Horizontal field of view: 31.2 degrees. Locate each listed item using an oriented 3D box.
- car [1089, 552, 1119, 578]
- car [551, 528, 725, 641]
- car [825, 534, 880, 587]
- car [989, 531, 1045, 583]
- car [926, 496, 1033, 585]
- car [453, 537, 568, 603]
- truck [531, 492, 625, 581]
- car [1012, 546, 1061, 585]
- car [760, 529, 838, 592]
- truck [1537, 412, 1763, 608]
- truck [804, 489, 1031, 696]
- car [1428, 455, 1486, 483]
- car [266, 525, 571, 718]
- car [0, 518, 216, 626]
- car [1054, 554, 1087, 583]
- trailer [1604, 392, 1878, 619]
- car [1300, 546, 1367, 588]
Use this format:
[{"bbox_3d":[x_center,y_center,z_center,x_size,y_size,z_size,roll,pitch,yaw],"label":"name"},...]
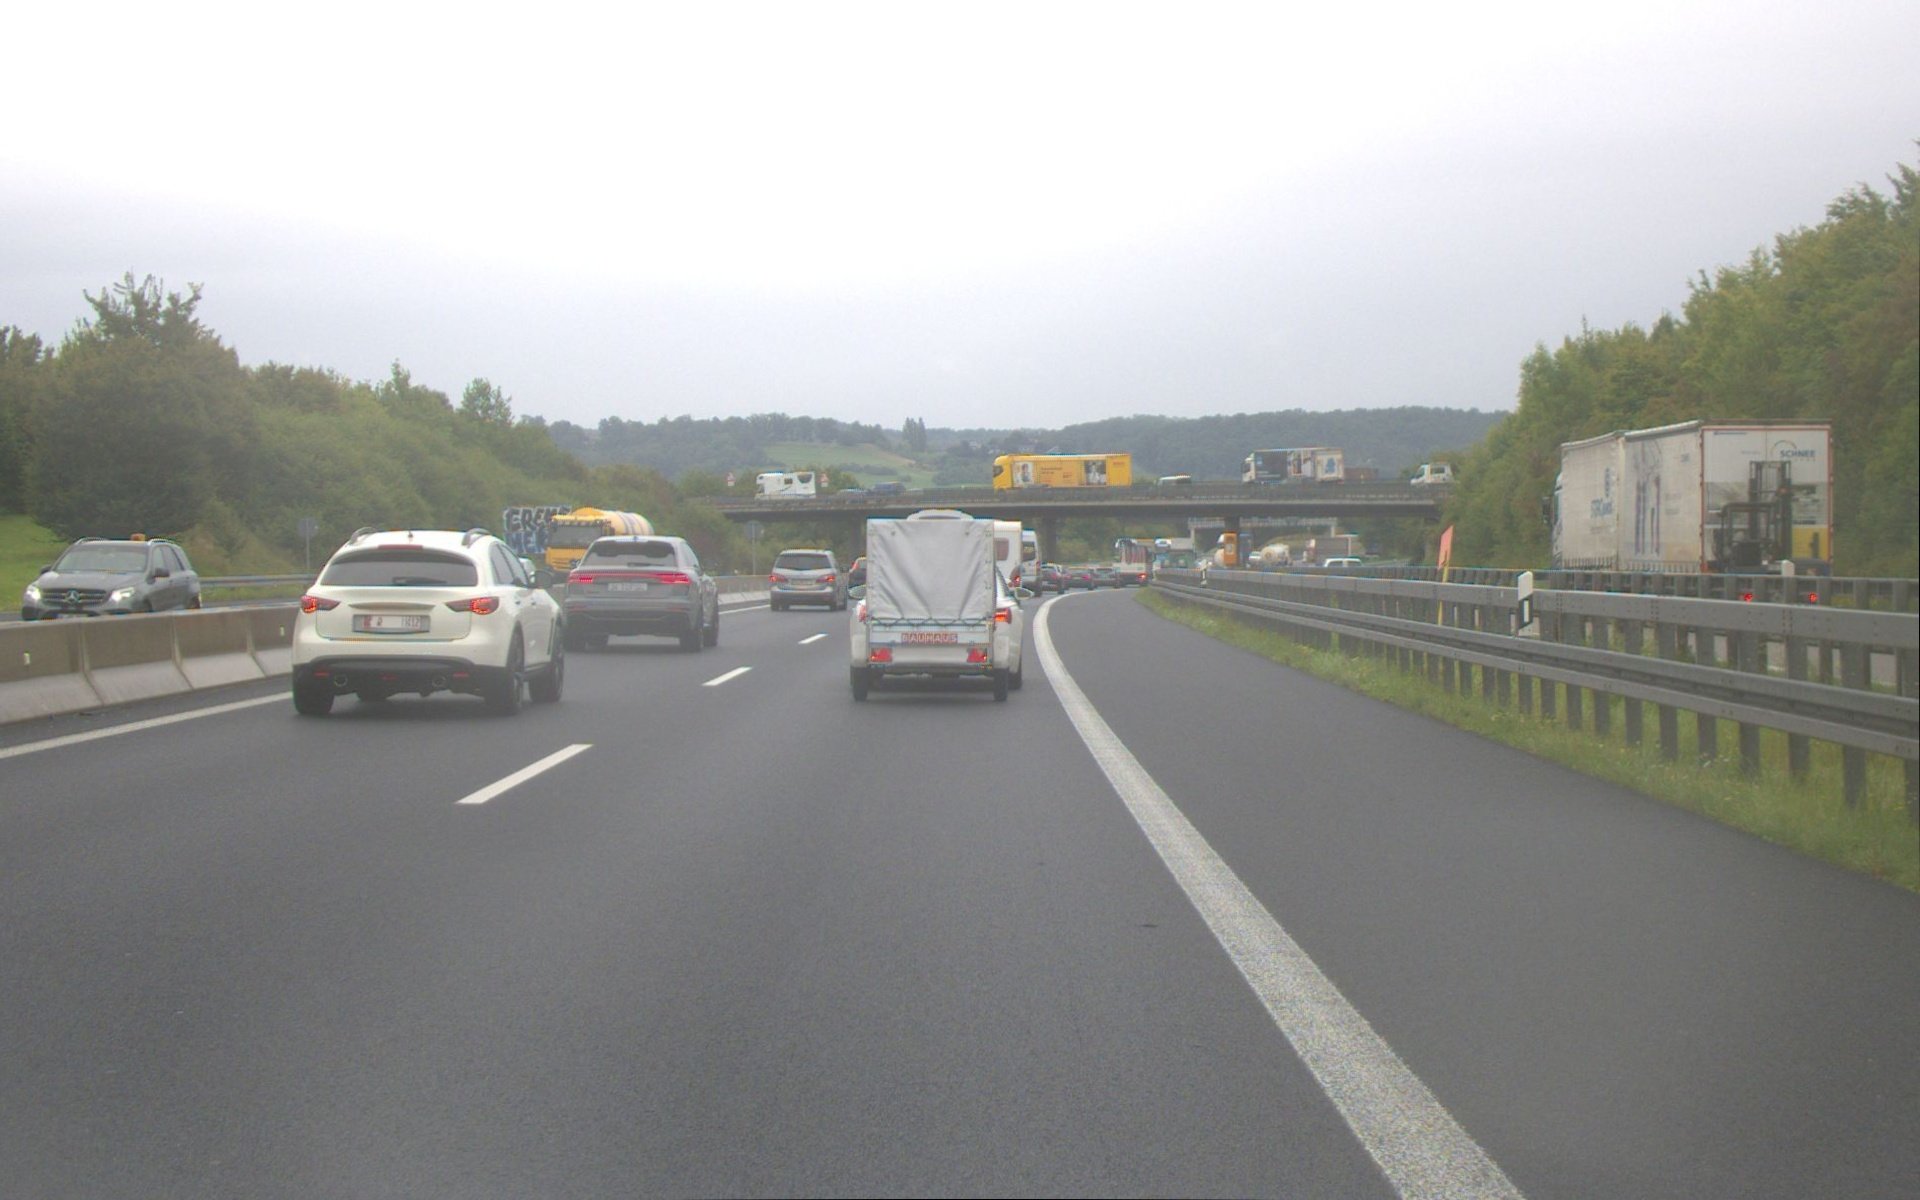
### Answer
[{"bbox_3d":[10.056,-2.464,239.411,1.994,1.744,4.000,1,1,3],"label":"car"},{"bbox_3d":[-4.763,-0.257,51.458,2.174,1.626,4.501,0,1,0],"label":"car"},{"bbox_3d":[-3.763,-1.406,120.353,1.842,1.813,4.000,0,1,-1],"label":"car"},{"bbox_3d":[2.294,-1.753,139.589,1.993,2.029,4.152,1,1,-2],"label":"car"},{"bbox_3d":[0.629,-1.818,104.419,3.017,2.607,6.074,0,1,2],"label":"car"},{"bbox_3d":[-11.901,-0.817,91.361,2.180,1.690,4.864,0,1,3],"label":"car"},{"bbox_3d":[-14.959,-2.474,135.012,2.762,3.386,5.845,1,1,2],"label":"truck"},{"bbox_3d":[3.505,-1.611,158.428,1.993,1.744,4.000,1,1,-2],"label":"car"},{"bbox_3d":[-4.177,-1.055,89.853,1.900,1.607,4.017,0,1,-1],"label":"car"},{"bbox_3d":[15.925,-2.066,80.210,3.437,4.274,10.418,0,1,2],"label":"truck"},{"bbox_3d":[-0.336,-0.147,36.602,2.019,1.979,7.212,0,1,3],"label":"truck"},{"bbox_3d":[36.258,-9.540,250.847,1.837,1.908,3.999,1,1,-38],"label":"car"},{"bbox_3d":[-4.842,0.146,31.368,1.976,1.633,4.500,0,1,1],"label":"car"},{"bbox_3d":[-13.960,-0.490,56.594,2.180,1.690,4.732,0,1,3],"label":"car"},{"bbox_3d":[6.803,-1.964,211.566,1.993,1.744,4.000,1,1,2],"label":"car"},{"bbox_3d":[15.635,-1.880,69.786,3.437,4.274,10.454,0,1,2],"label":"trailer"},{"bbox_3d":[13.118,-1.180,120.897,1.860,1.442,4.158,0,1,0],"label":"car"}]
